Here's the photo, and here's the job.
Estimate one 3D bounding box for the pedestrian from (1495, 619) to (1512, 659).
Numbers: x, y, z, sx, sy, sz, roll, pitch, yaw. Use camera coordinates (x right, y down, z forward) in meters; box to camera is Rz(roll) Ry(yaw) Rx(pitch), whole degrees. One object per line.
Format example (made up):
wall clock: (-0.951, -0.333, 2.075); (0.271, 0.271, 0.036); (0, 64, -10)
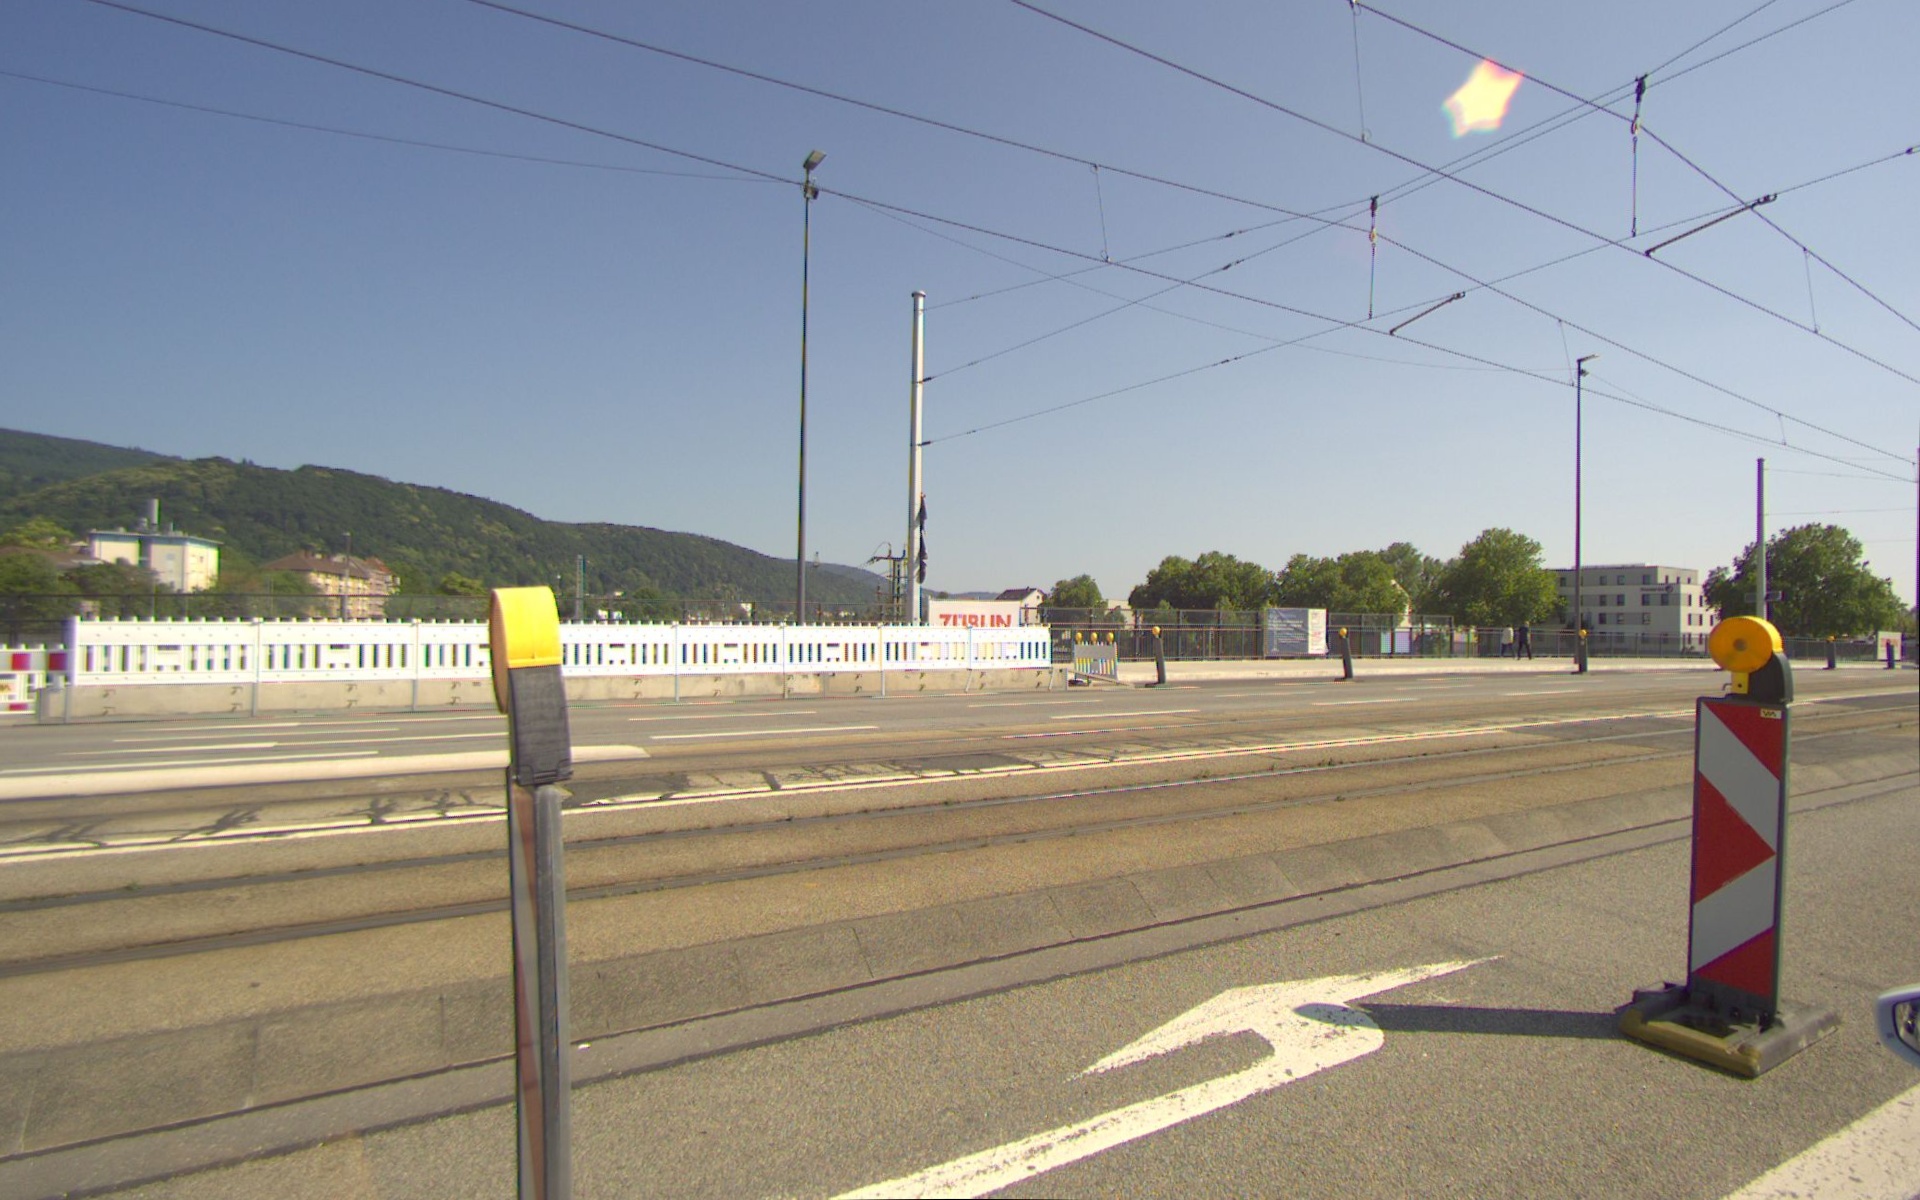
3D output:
pedestrian: (24.172, 1.736, 44.673); (0.468, 1.717, 0.493); (2, 0, -30)

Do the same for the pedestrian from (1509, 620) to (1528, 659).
pedestrian: (24.432, 1.724, 43.943); (0.468, 1.717, 0.493); (2, 0, -30)
